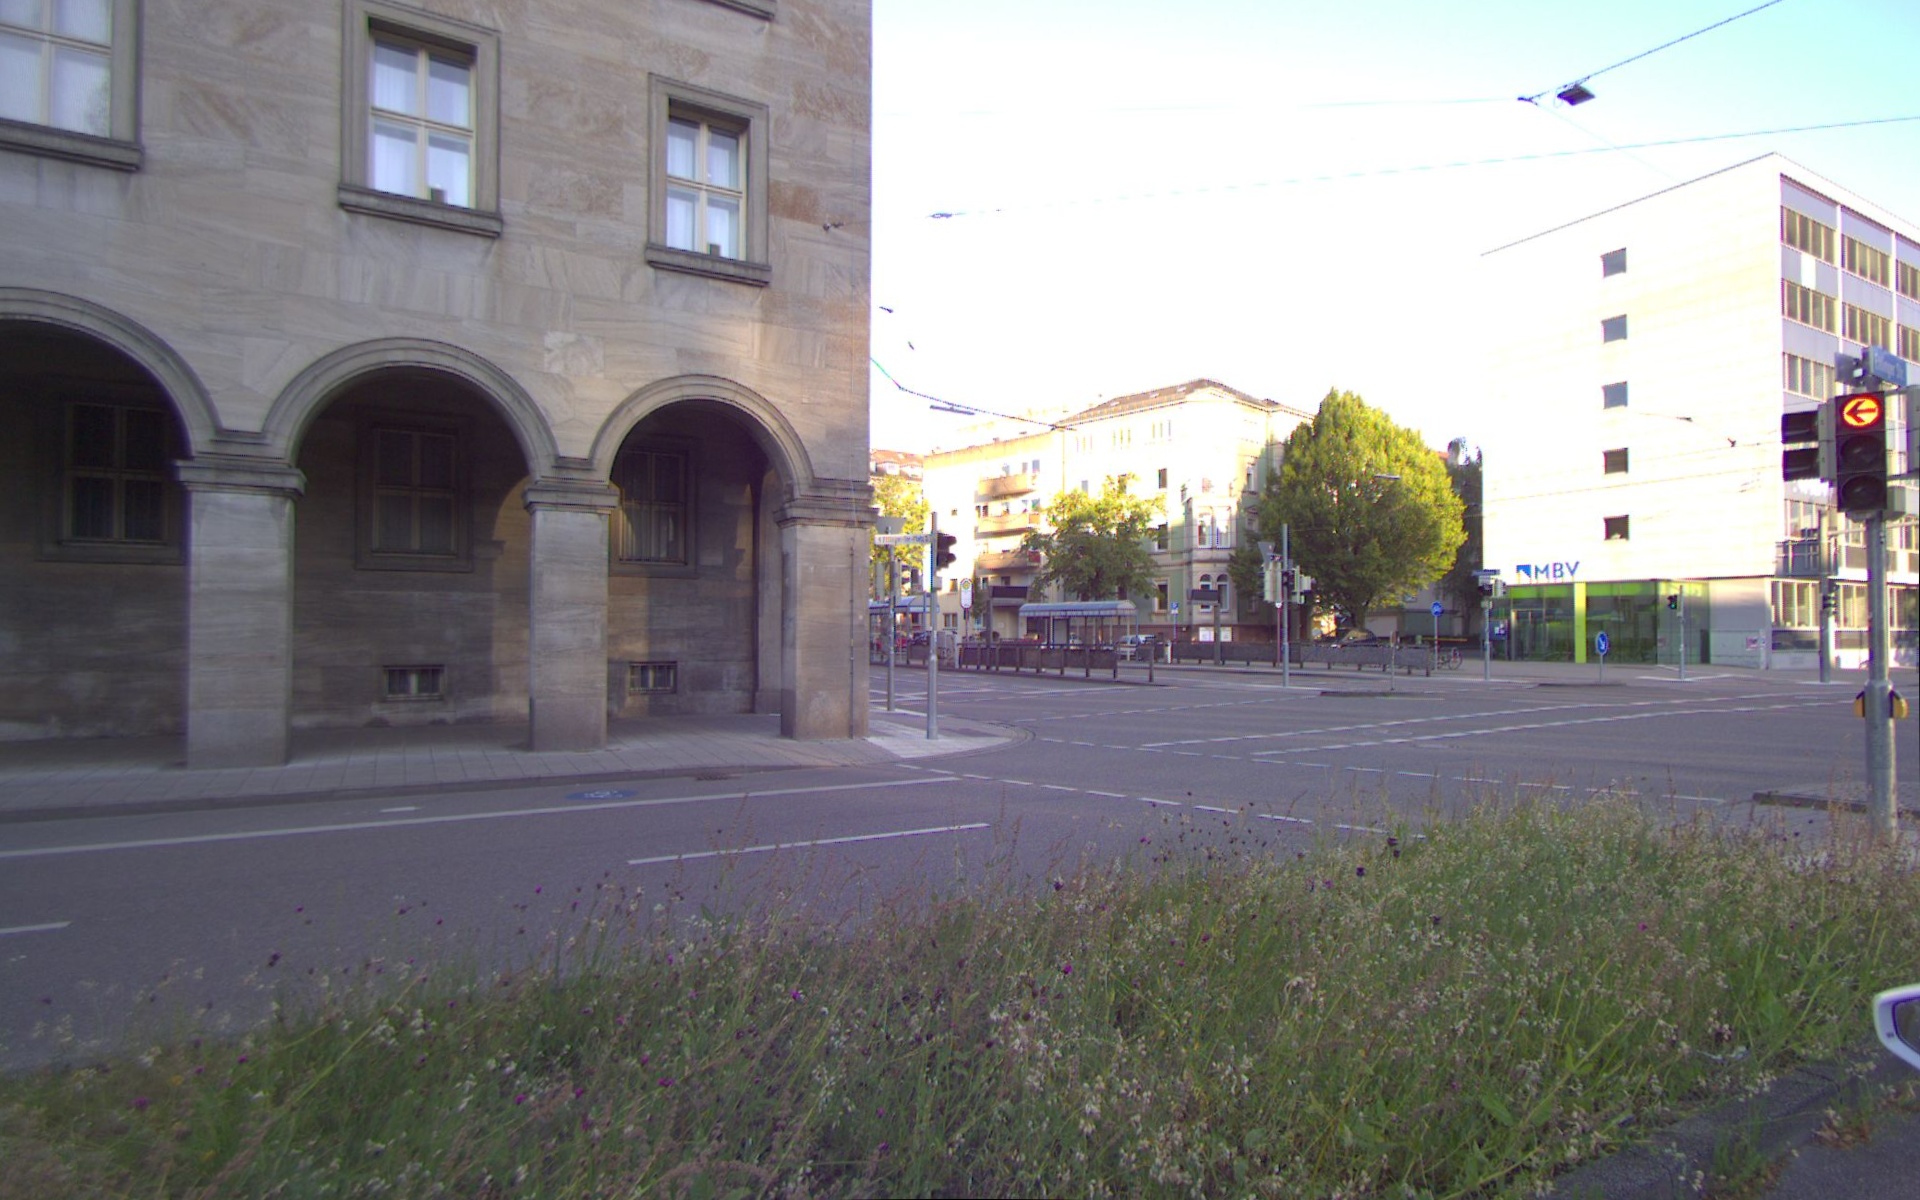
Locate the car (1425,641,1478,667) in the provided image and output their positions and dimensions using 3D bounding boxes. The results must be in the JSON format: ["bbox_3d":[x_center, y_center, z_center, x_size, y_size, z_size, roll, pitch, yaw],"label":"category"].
[{"bbox_3d":[21.202,2.326,43.335,2.492,1.088,0.849,1,-2,-31],"label":"car"}]

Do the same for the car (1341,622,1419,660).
[{"bbox_3d":[23.149,2.232,55.369,3.954,2.040,1.984,1,-2,-31],"label":"car"}]
